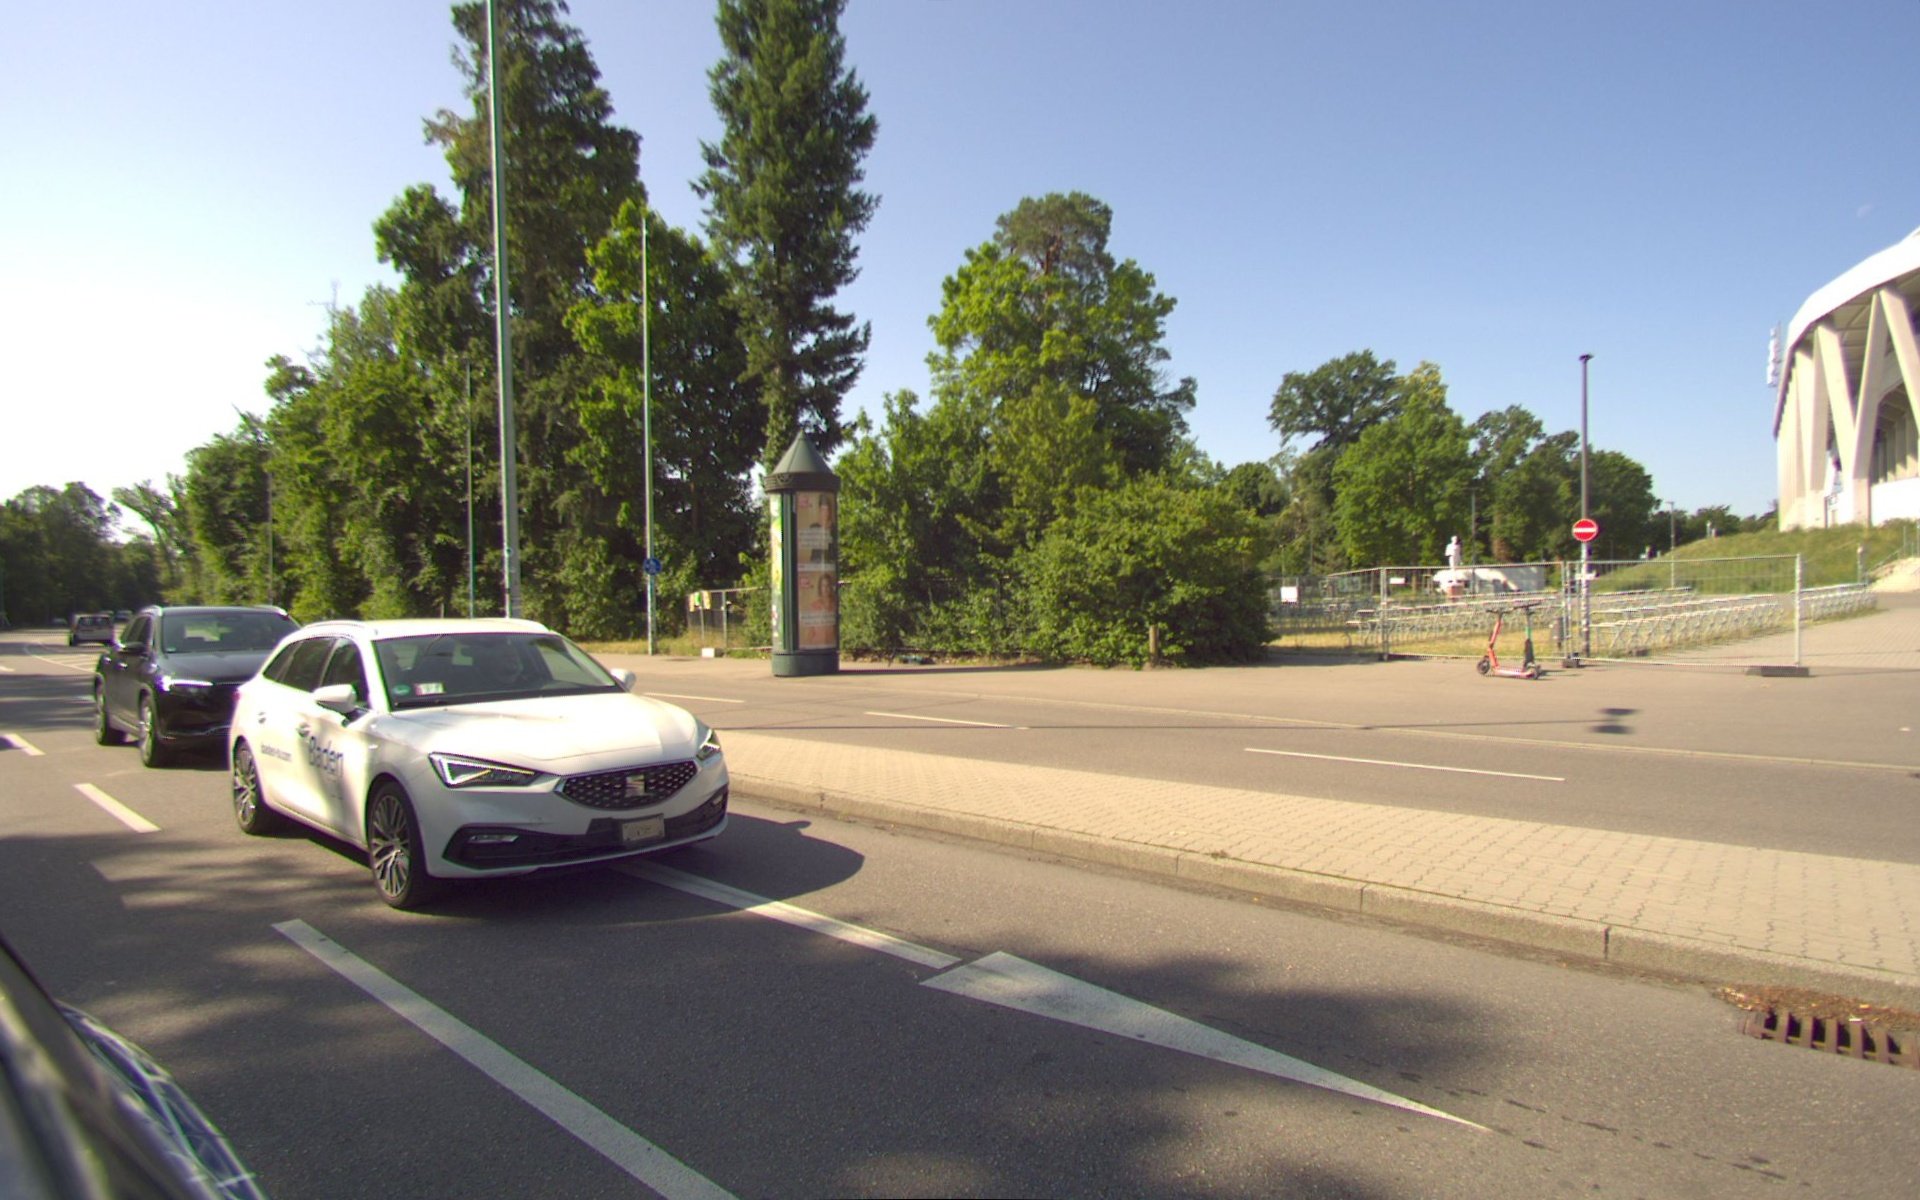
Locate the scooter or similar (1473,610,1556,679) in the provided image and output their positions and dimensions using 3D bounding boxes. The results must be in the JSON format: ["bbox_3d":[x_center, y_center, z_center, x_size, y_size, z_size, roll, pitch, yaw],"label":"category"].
[{"bbox_3d":[9.657,0.766,17.649,0.390,1.154,1.197,-1,0,-44],"label":"scooter or similar"}]

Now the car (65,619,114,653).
[{"bbox_3d":[-51.642,2.106,59.992,4.002,1.874,1.851,-1,0,44],"label":"car"}]

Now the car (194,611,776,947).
[{"bbox_3d":[-3.351,0.820,6.573,4.718,1.437,1.707,-1,-1,42],"label":"car"}]

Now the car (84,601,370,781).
[{"bbox_3d":[-8.265,0.883,11.252,4.273,1.608,1.785,-2,-1,43],"label":"car"}]

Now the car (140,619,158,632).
[{"bbox_3d":[-108.497,3.370,135.404,1.828,1.630,4.007,-1,0,-39],"label":"car"}]

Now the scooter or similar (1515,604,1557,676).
[{"bbox_3d":[10.324,0.699,18.167,0.392,1.231,1.076,-1,0,16],"label":"scooter or similar"}]
